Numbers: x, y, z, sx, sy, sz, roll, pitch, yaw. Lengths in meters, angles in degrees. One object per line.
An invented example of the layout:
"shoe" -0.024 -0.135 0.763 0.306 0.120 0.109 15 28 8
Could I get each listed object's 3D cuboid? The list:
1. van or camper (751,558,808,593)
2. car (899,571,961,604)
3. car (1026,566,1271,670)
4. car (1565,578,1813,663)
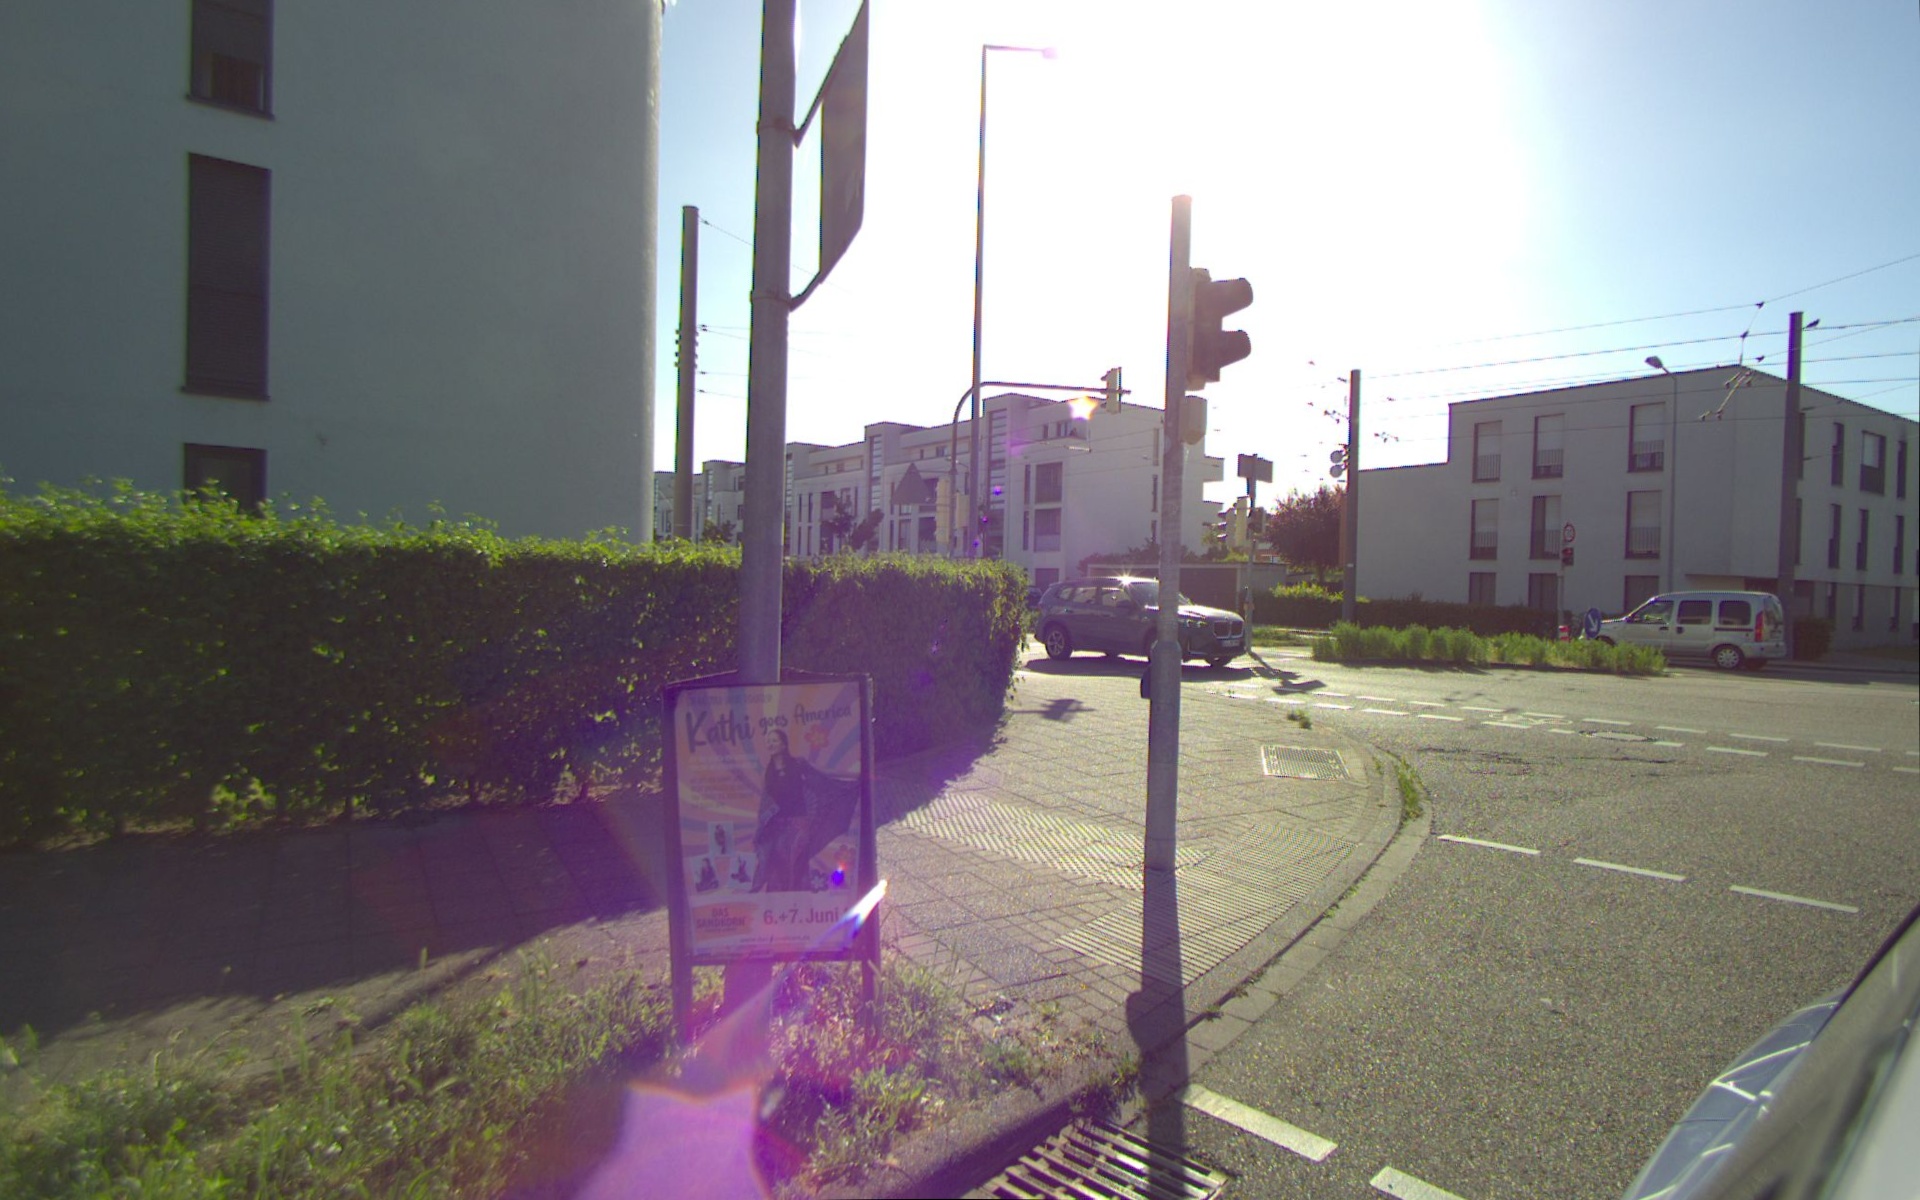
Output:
"van or camper" -13.407 -1.842 75.076 2.157 2.495 5.262 1 1 -34
"car" -1.765 -0.716 58.240 1.760 1.744 3.911 2 1 -33
"car" 3.482 0.224 19.380 1.964 1.693 4.405 -1 3 -39
"car" 17.264 0.414 24.189 1.961 1.777 4.365 1 1 -32
